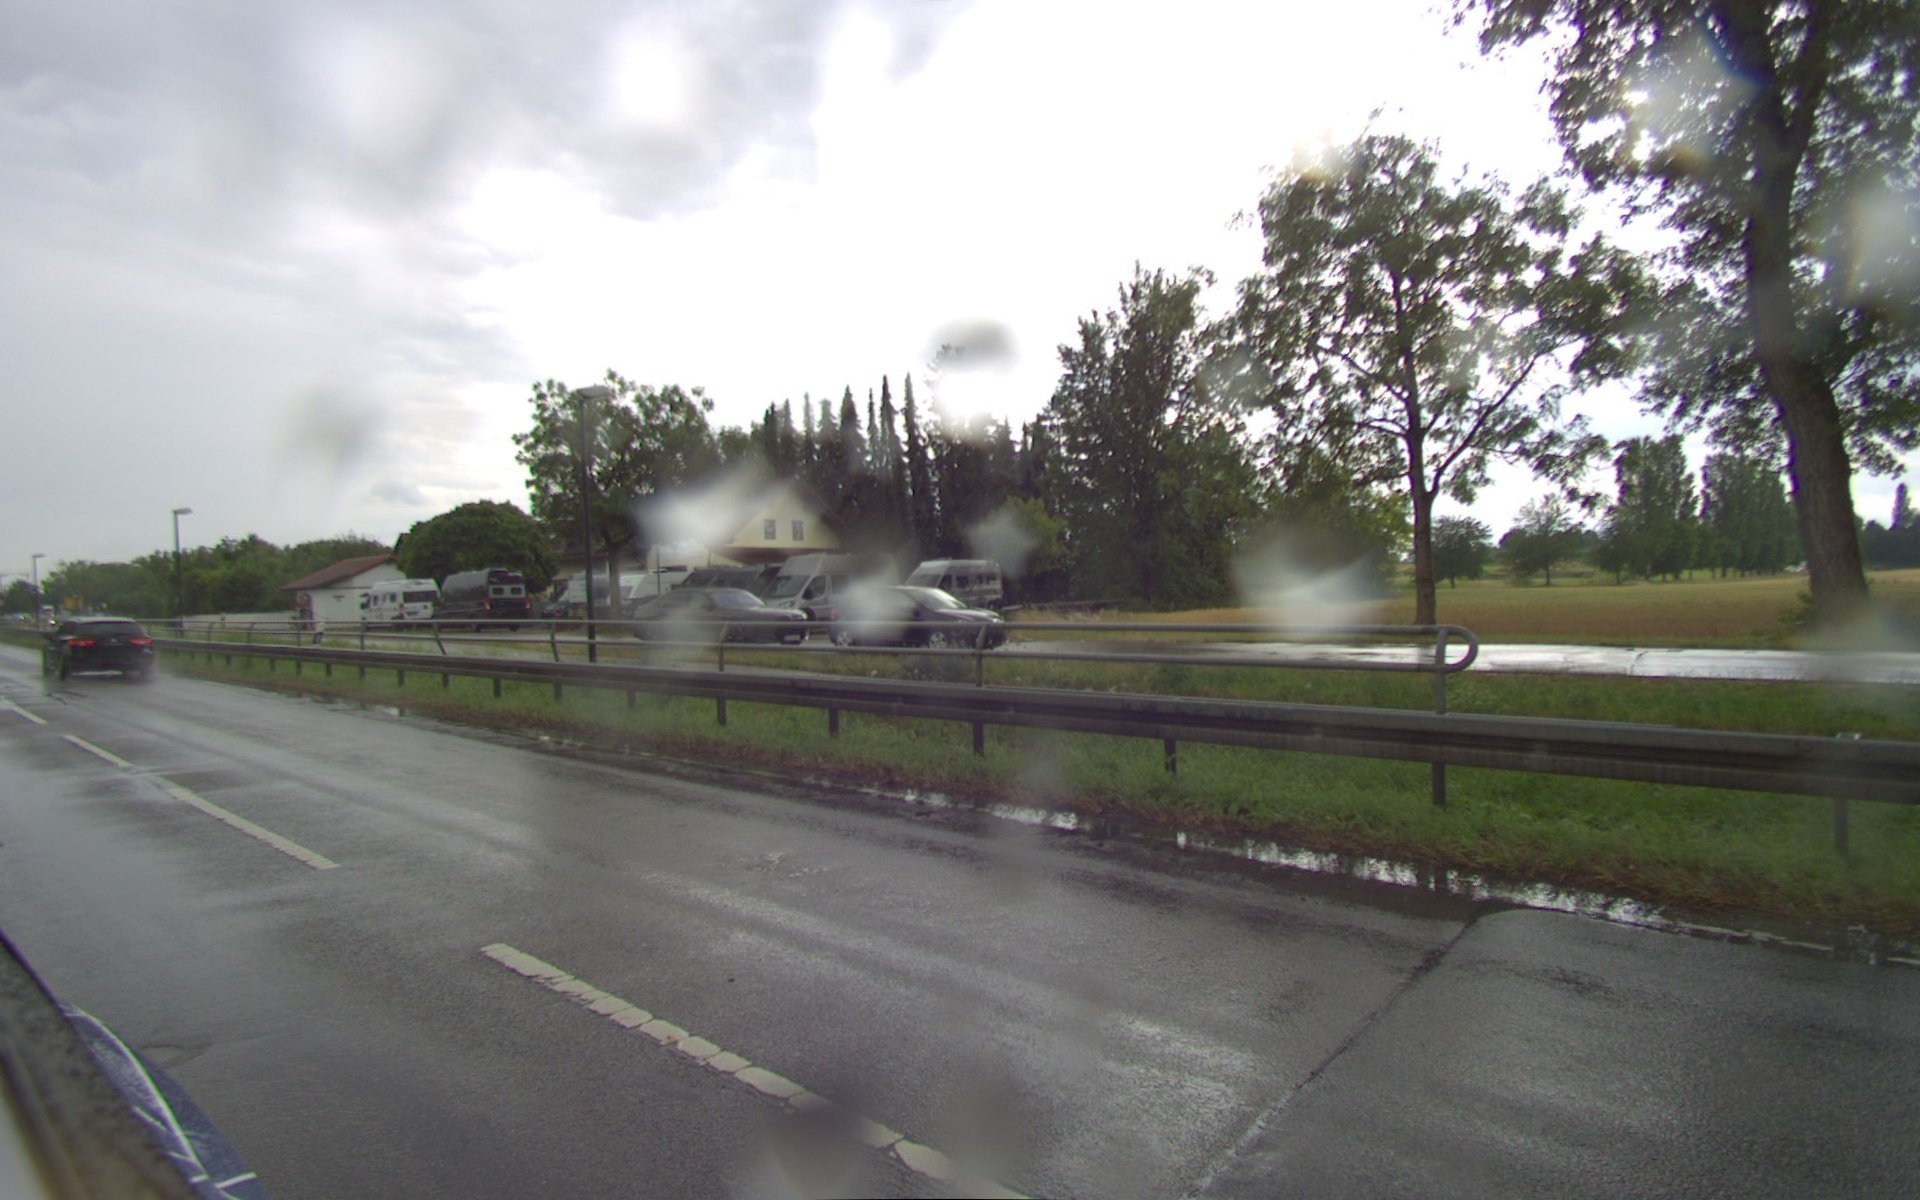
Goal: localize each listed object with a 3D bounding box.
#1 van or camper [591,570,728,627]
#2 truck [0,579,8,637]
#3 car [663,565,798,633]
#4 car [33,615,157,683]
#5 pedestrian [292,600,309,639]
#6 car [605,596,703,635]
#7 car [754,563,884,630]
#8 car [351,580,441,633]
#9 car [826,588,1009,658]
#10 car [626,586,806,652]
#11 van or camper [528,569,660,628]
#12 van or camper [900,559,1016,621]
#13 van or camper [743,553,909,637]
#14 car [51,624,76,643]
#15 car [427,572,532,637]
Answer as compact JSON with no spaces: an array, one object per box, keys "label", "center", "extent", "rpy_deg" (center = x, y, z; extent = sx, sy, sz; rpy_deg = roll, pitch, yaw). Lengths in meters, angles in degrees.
[{"label":"van or camper","center":[-14.947,-0.106,50.737],"extent":[2.560,2.611,6.161],"rpy_deg":[-2,1,40]},{"label":"truck","center":[-88.786,0.832,91.374],"extent":[7.779,5.071,3.215],"rpy_deg":[-1,1,41]},{"label":"car","center":[-9.140,-0.097,40.674],"extent":[1.998,2.520,5.132],"rpy_deg":[-2,1,39]},{"label":"car","center":[-20.713,1.128,24.175],"extent":[4.109,1.462,1.696],"rpy_deg":[-1,-1,41]},{"label":"pedestrian","center":[-29.751,0.859,45.666],"extent":[0.509,1.723,0.651],"rpy_deg":[-2,0,-40]},{"label":"car","center":[-13.324,0.652,44.198],"extent":[1.539,1.507,3.844],"rpy_deg":[-1,1,41]},{"label":"car","center":[-5.519,-0.179,40.212],"extent":[1.998,2.477,5.043],"rpy_deg":[-2,1,39]},{"label":"car","center":[-29.564,0.349,52.927],"extent":[6.017,2.600,2.214],"rpy_deg":[-1,1,42]},{"label":"car","center":[-0.951,0.474,21.061],"extent":[3.892,1.341,1.271],"rpy_deg":[-2,-1,37]},{"label":"car","center":[-6.114,0.484,24.993],"extent":[5.115,1.502,1.501],"rpy_deg":[-2,-1,38]},{"label":"van or camper","center":[-18.886,-0.116,52.476],"extent":[2.432,2.822,5.993],"rpy_deg":[-2,1,40]},{"label":"van or camper","center":[-0.009,-0.499,45.329],"extent":[1.997,2.609,5.749],"rpy_deg":[-2,1,38]},{"label":"van or camper","center":[-4.560,-0.233,35.295],"extent":[2.080,2.697,5.816],"rpy_deg":[-2,1,40]},{"label":"car","center":[-103.467,3.867,116.804],"extent":[3.998,2.029,1.661],"rpy_deg":[-1,0,41]},{"label":"car","center":[-22.378,0.225,47.013],"extent":[5.571,2.783,2.358],"rpy_deg":[-1,1,42]}]
